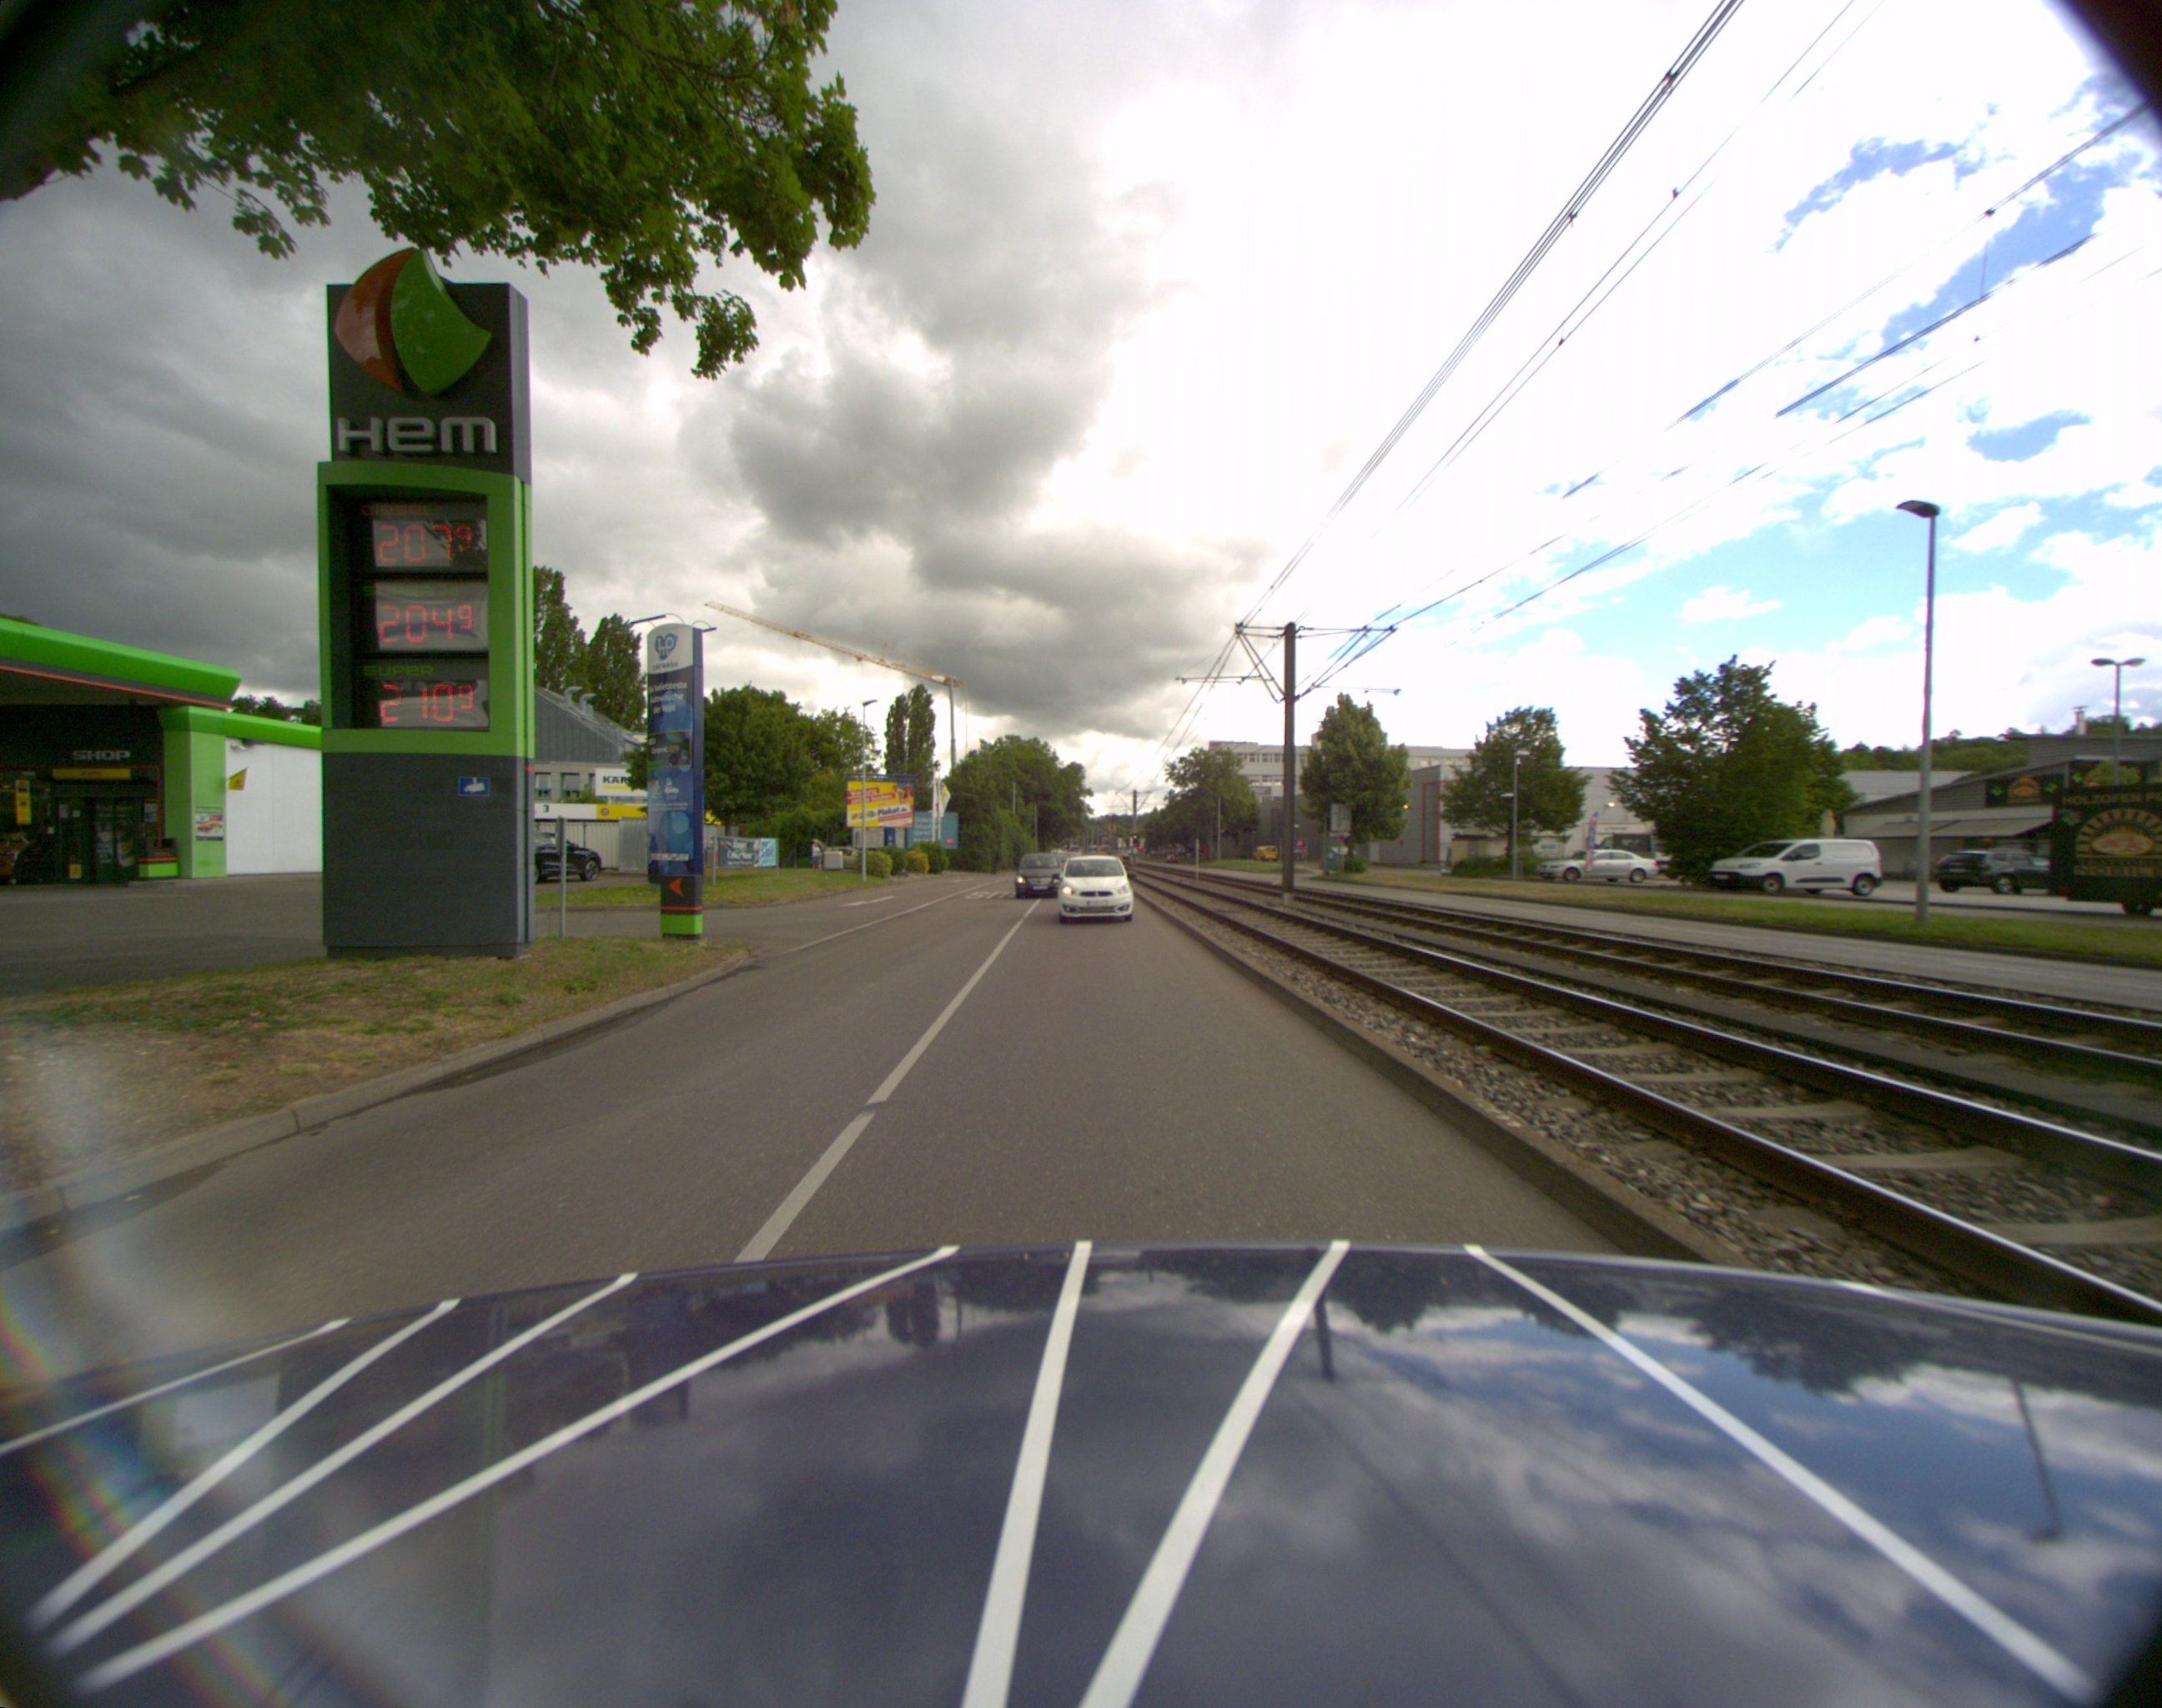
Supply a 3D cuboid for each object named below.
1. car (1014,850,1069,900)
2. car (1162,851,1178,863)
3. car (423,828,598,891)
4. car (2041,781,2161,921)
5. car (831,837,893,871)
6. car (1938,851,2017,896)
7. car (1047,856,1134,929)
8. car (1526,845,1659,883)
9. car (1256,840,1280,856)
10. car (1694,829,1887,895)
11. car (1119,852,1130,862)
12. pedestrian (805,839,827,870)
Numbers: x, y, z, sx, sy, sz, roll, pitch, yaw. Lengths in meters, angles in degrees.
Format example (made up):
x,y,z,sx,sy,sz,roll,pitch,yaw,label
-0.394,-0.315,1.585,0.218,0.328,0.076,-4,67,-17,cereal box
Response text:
x,y,z,sx,sy,sz,roll,pitch,yaw,label
-1.430,0.720,28.026,1.786,1.614,3.998,-2,1,-2,car
15.215,0.517,129.602,1.999,2.002,3.999,-2,1,-2,car
-17.172,0.129,23.192,1.998,1.629,4.326,3,1,0,car
23.262,-0.025,15.464,4.481,2.733,2.288,1,1,-1,car
-12.558,-0.022,43.783,3.246,1.782,1.543,-2,1,-11,car
34.333,0.711,29.084,3.747,1.613,1.719,0,0,-37,car
0.129,0.812,18.082,1.786,1.435,3.998,-2,1,-2,car
23.033,0.445,34.382,4.611,1.484,2.000,-2,1,3,car
23.811,-0.820,97.059,1.999,2.002,3.999,1,1,-1,car
23.067,0.242,24.850,4.355,1.908,2.000,-2,1,3,car
9.165,0.535,160.176,1.999,2.002,3.999,-2,1,-2,car
-14.894,0.007,42.664,1.043,1.688,1.074,-3,1,-20,pedestrian
